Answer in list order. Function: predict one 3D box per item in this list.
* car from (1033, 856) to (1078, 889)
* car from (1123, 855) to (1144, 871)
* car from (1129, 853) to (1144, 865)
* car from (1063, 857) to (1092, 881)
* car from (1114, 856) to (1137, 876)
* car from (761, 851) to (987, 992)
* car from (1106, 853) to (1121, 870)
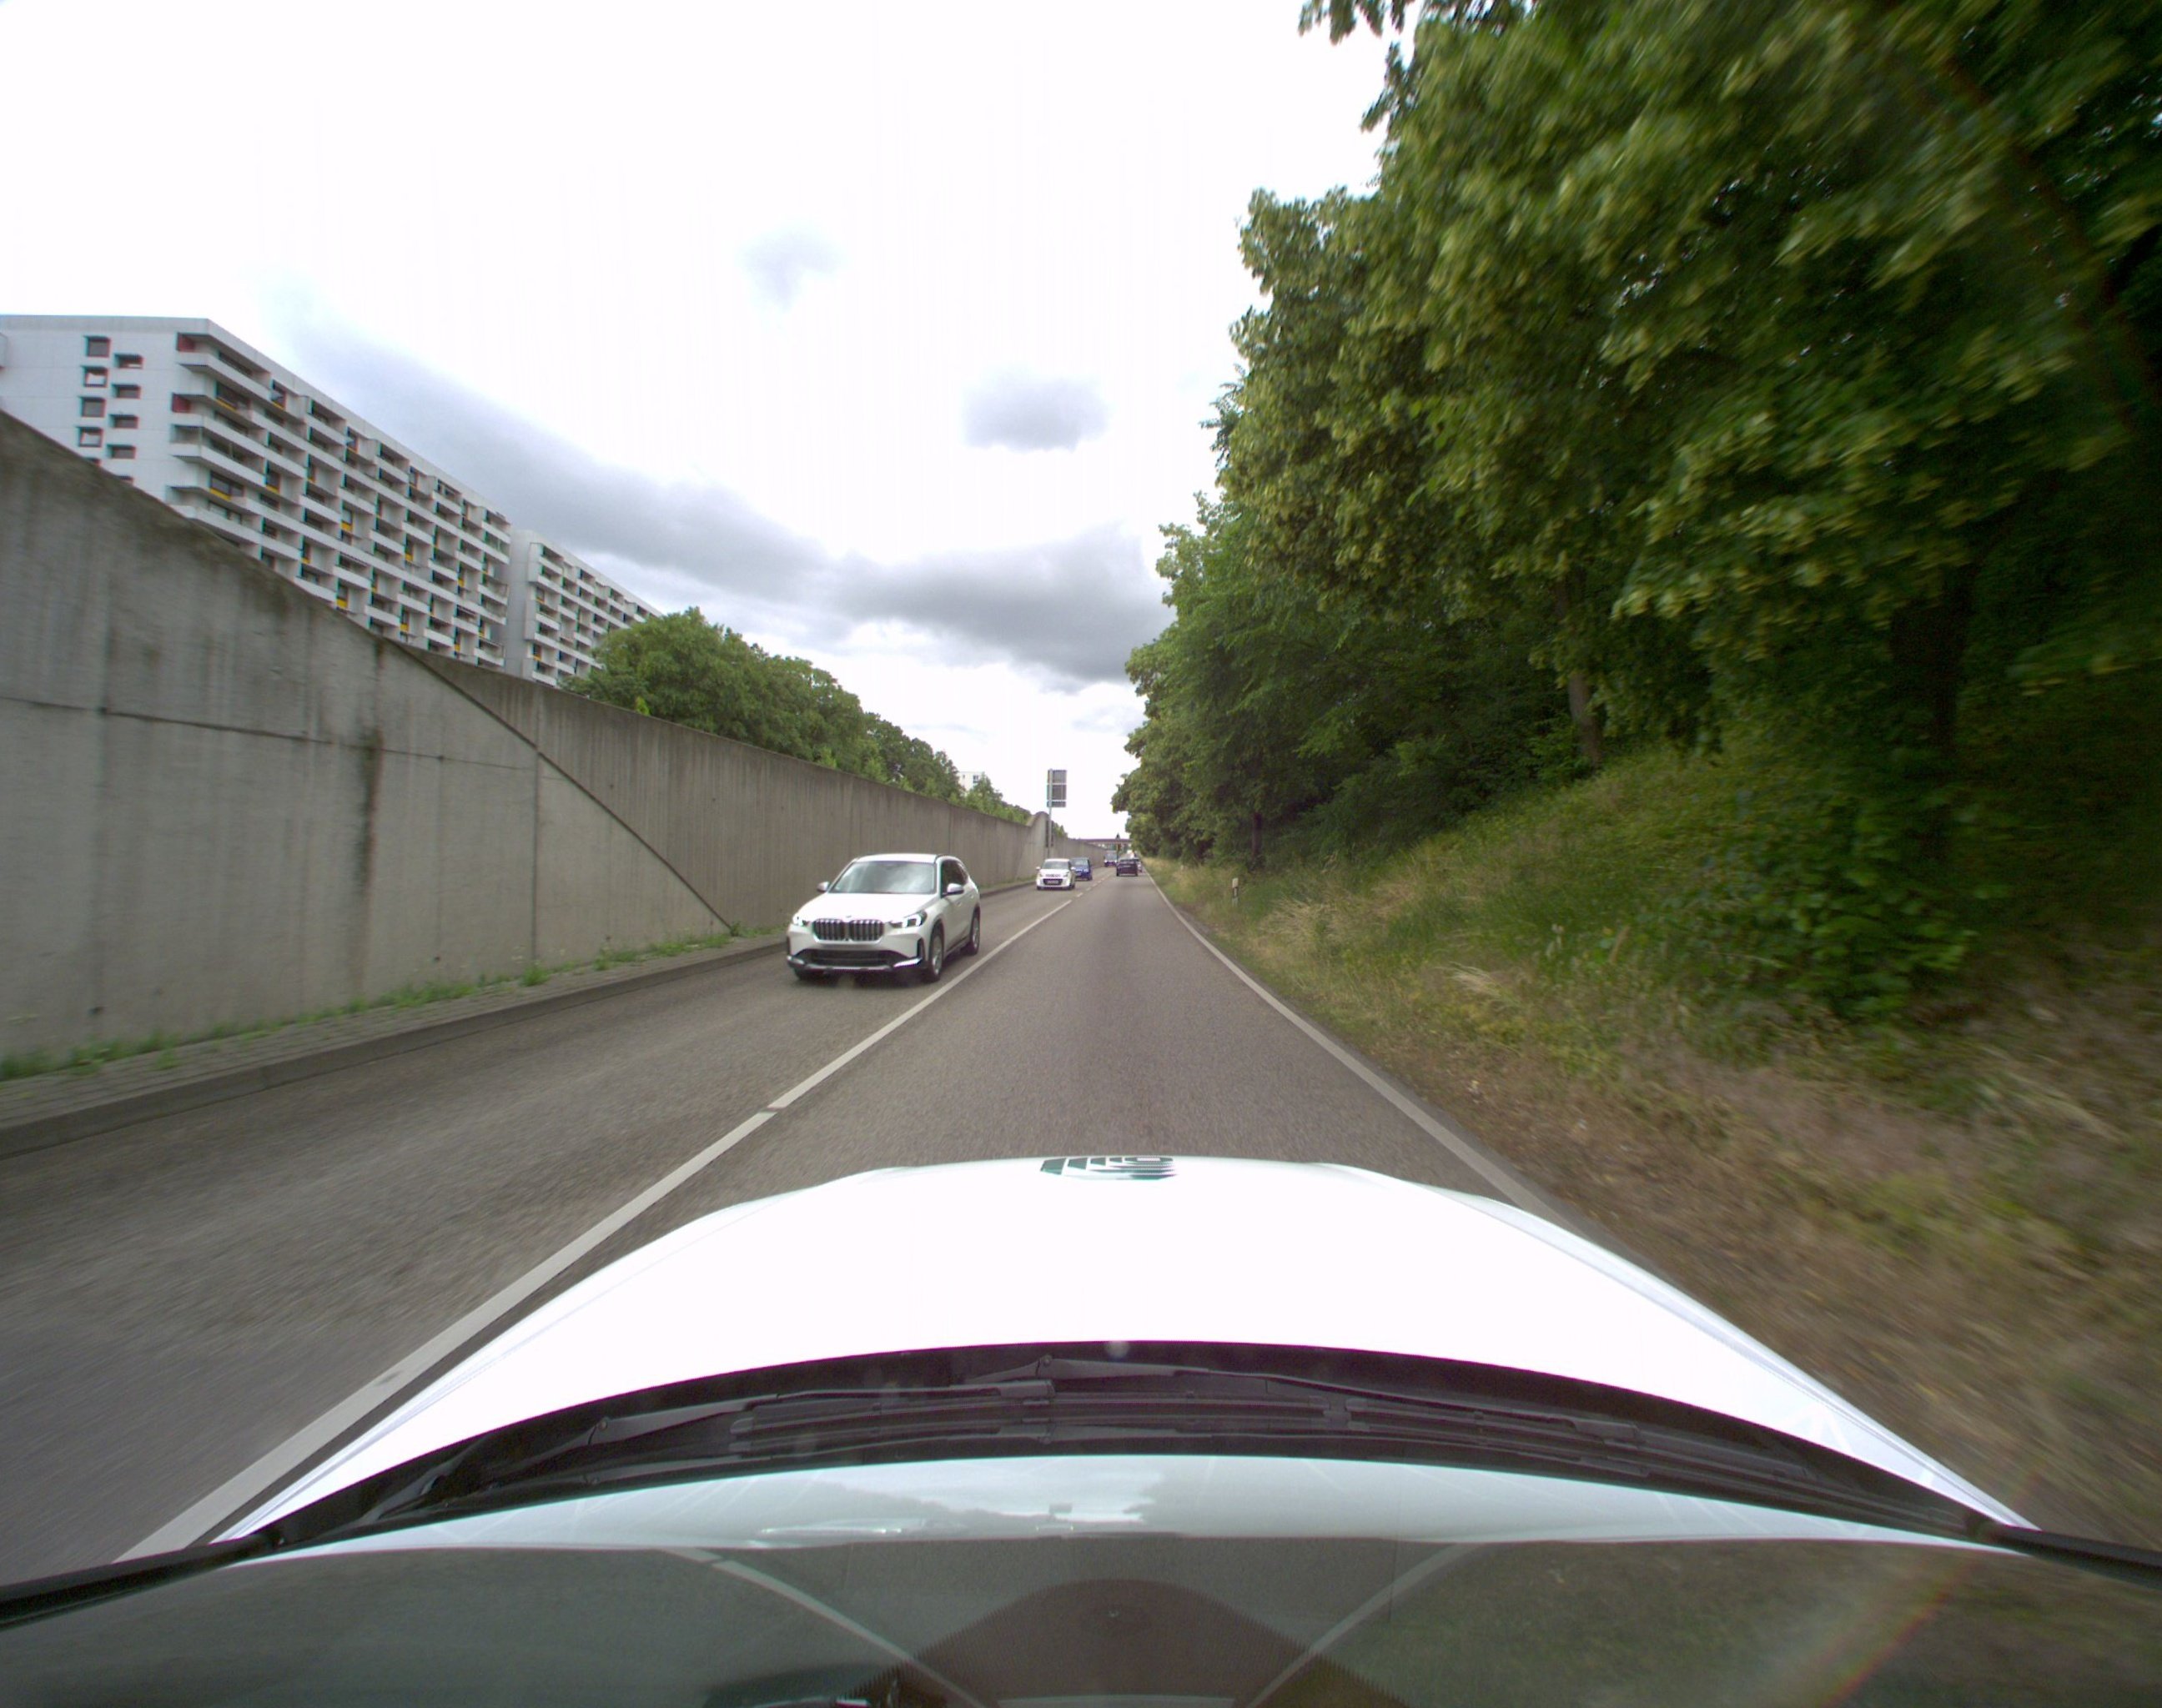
[{"bbox_3d":[-1.184,0.857,39.314,1.908,1.495,4.209,0,0,1],"label":"car"},{"bbox_3d":[5.364,0.948,83.915,1.750,1.524,4.032,-1,-2,-2],"label":"car"},{"bbox_3d":[7.365,0.714,108.134,1.859,1.490,4.259,3,0,2],"label":"car"},{"bbox_3d":[-0.196,0.987,54.439,1.761,1.495,4.209,0,0,1],"label":"car"},{"bbox_3d":[3.632,0.983,66.755,1.747,1.524,4.038,0,-3,3],"label":"car"},{"bbox_3d":[-2.677,0.789,11.717,1.882,1.632,4.429,0,0,3],"label":"car"},{"bbox_3d":[5.166,1.144,129.977,2.100,2.630,7.425,0,0,4],"label":"car"}]
